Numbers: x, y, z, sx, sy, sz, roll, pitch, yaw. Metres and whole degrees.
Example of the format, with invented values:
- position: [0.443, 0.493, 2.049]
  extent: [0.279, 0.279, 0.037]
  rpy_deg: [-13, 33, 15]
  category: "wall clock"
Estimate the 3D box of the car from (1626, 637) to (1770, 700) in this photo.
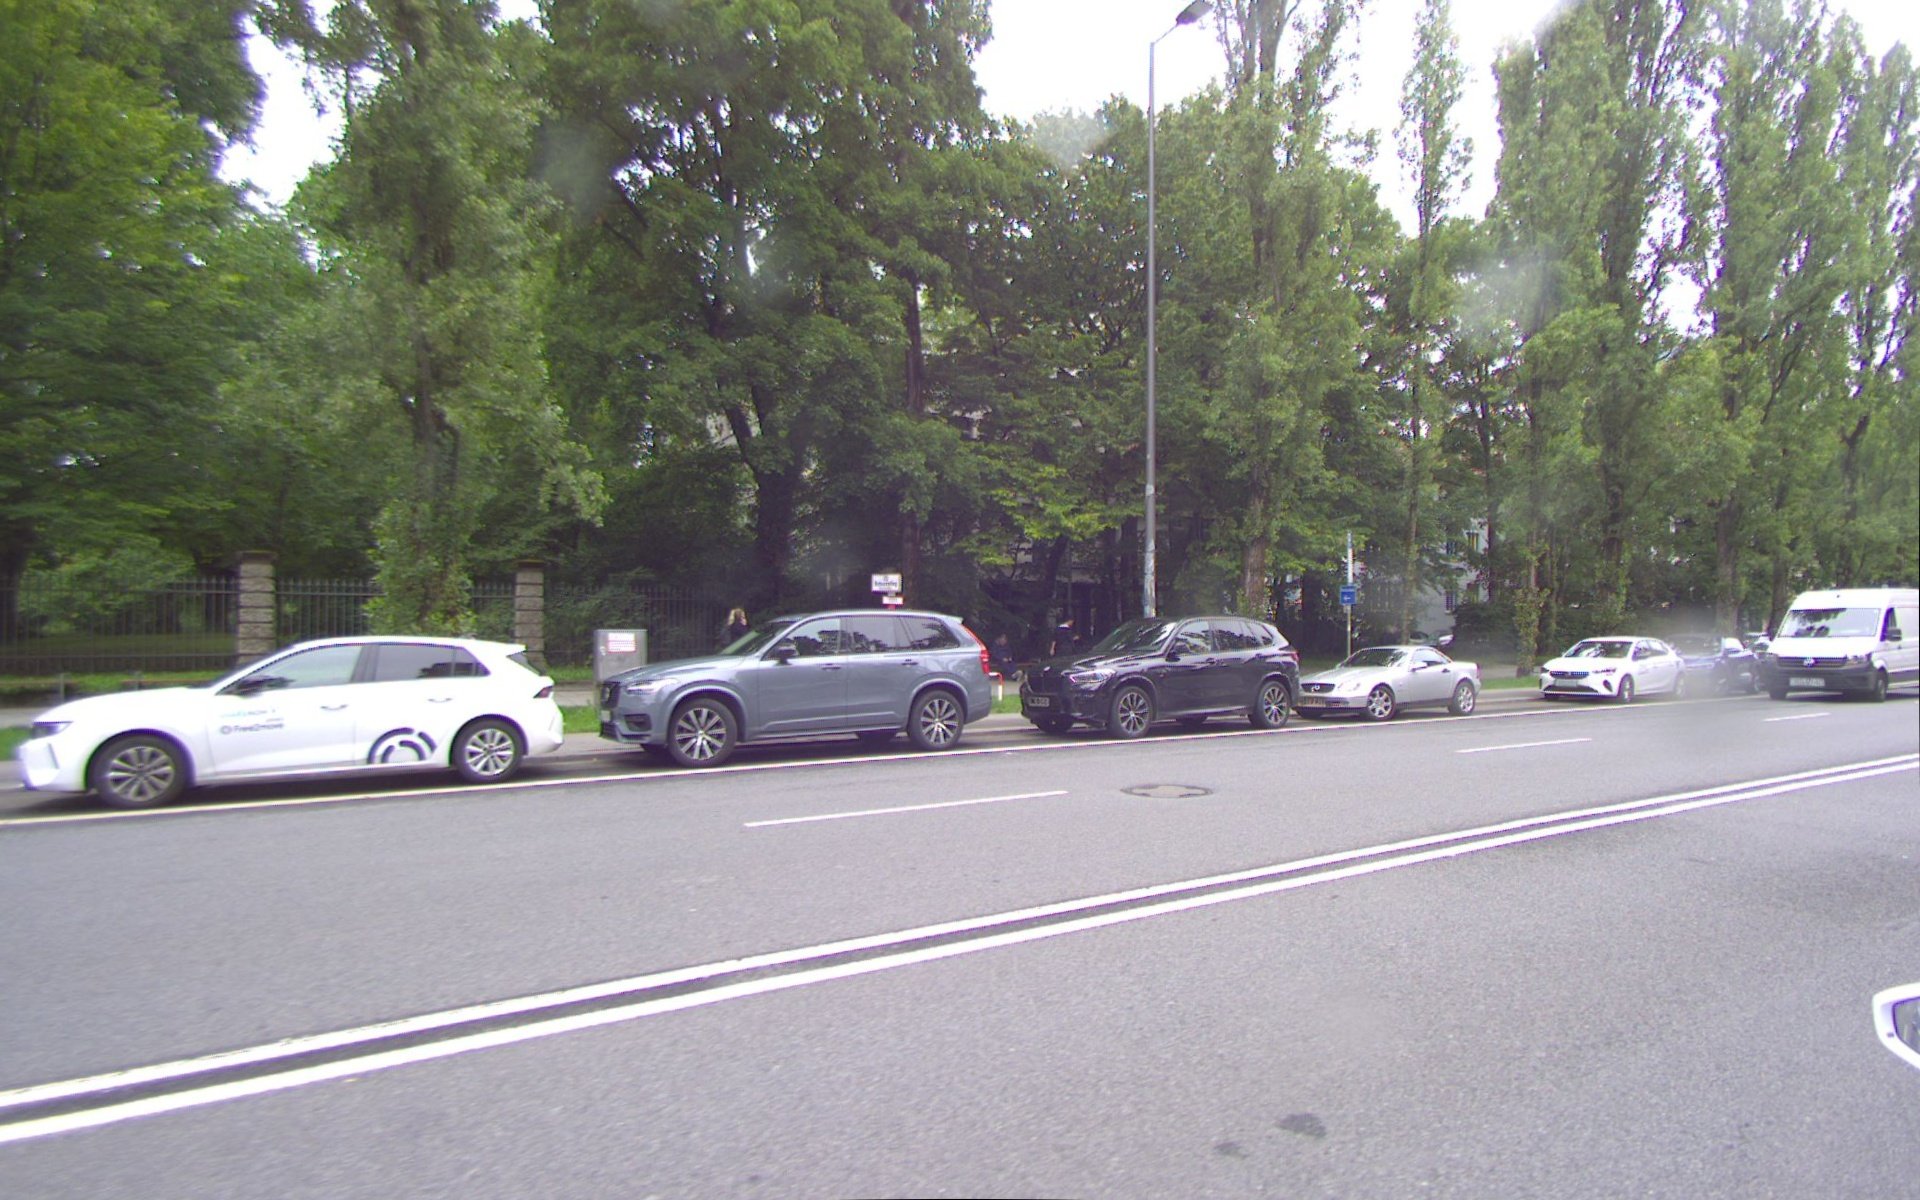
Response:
- position: [18.542, 1.688, 25.208]
  extent: [3.547, 1.470, 1.700]
  rpy_deg: [1, -4, -33]
  category: "car"

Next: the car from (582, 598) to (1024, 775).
- position: [-1.849, 1.001, 12.521]
  extent: [5.121, 1.813, 1.900]
  rpy_deg: [1, -4, -32]
  category: "car"

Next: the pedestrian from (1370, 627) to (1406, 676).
- position: [14.507, 1.726, 34.065]
  extent: [0.871, 1.620, 0.733]
  rpy_deg: [1, 0, -30]
  category: "pedestrian"

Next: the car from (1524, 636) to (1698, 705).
- position: [15.041, 1.590, 23.159]
  extent: [4.187, 1.471, 1.761]
  rpy_deg: [1, -4, -33]
  category: "car"

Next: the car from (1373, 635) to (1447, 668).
- position: [25.877, 2.953, 57.791]
  extent: [3.953, 1.795, 1.984]
  rpy_deg: [1, -1, -30]
  category: "car"

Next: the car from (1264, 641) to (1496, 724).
- position: [7.743, 1.458, 18.438]
  extent: [4.186, 1.351, 1.817]
  rpy_deg: [1, -4, -32]
  category: "car"

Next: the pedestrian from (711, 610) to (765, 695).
- position: [-4.711, 1.100, 21.289]
  extent: [0.946, 1.764, 0.663]
  rpy_deg: [1, -1, -30]
  category: "pedestrian"

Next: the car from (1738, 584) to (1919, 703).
- position: [21.397, 1.040, 24.084]
  extent: [6.685, 2.515, 2.215]
  rpy_deg: [1, -3, -33]
  category: "car"

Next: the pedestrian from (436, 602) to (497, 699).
- position: [-9.207, 0.927, 18.743]
  extent: [0.946, 1.764, 0.827]
  rpy_deg: [1, -1, -30]
  category: "pedestrian"

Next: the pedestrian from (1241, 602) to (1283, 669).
- position: [7.813, 0.921, 26.006]
  extent: [0.742, 1.686, 0.734]
  rpy_deg: [1, -2, -30]
  category: "pedestrian"

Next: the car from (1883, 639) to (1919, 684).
- position: [32.711, 2.074, 33.962]
  extent: [2.932, 1.466, 1.420]
  rpy_deg: [1, -4, -32]
  category: "car"

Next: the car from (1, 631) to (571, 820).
- position: [-6.149, 1.077, 9.738]
  extent: [4.224, 1.478, 1.696]
  rpy_deg: [1, -4, -32]
  category: "car"

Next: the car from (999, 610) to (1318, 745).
- position: [3.132, 1.139, 15.484]
  extent: [4.842, 1.790, 1.931]
  rpy_deg: [1, -4, -33]
  category: "car"
